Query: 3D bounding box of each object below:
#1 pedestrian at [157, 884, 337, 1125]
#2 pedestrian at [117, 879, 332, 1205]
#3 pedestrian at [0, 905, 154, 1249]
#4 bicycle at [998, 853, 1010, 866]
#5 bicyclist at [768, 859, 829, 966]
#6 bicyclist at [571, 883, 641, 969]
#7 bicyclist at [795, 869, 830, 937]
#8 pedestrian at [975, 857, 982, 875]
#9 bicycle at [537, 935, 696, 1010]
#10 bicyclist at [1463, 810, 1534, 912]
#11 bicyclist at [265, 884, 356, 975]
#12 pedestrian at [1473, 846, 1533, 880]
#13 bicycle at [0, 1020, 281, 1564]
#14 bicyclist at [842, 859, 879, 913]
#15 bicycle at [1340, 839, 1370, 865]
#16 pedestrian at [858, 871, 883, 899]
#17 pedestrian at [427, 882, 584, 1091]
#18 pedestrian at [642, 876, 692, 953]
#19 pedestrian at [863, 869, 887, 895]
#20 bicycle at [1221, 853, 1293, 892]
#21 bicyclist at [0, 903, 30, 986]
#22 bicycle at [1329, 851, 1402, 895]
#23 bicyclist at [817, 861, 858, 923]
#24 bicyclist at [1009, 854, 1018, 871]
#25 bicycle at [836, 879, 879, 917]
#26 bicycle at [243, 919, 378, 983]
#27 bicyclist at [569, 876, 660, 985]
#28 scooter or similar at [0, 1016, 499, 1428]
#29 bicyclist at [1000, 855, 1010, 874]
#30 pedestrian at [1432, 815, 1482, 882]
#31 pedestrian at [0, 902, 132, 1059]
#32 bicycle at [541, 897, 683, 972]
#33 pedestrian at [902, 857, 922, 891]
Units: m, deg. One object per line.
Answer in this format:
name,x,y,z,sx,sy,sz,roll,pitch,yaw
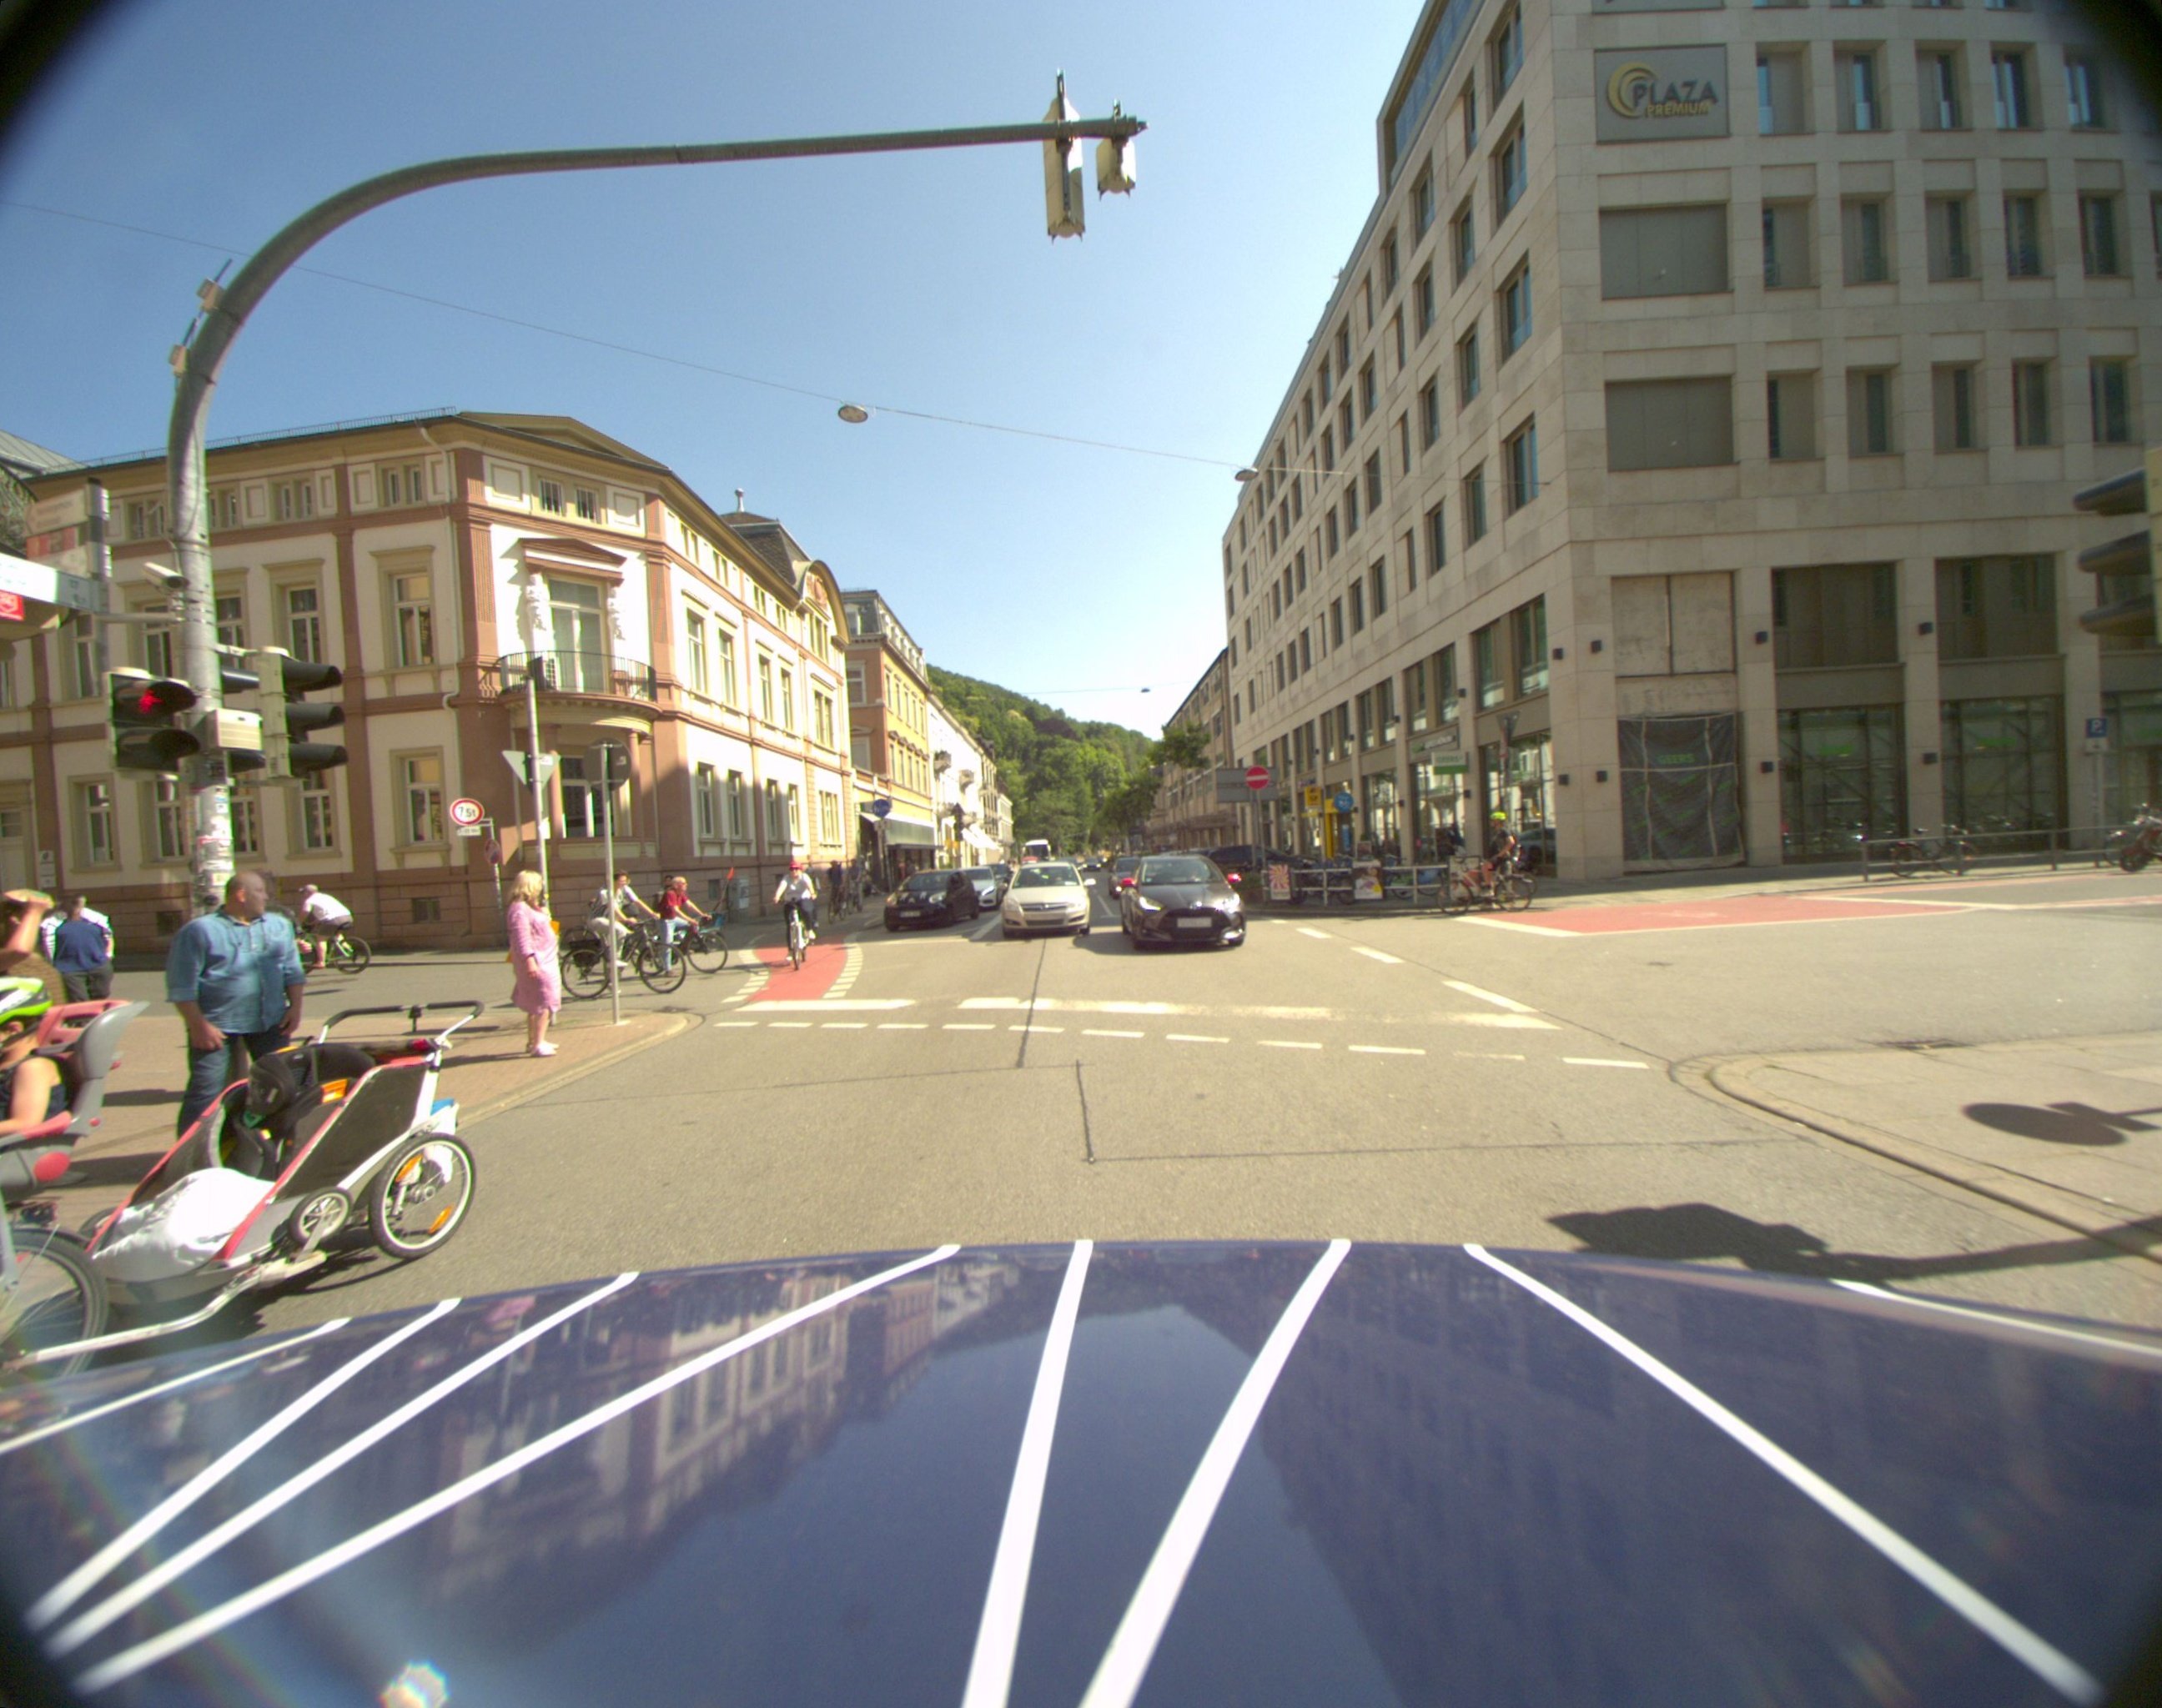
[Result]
pedestrian,-6.827,1.206,6.248,0.640,1.832,0.615,-5,2,11
pedestrian,-5.102,1.064,4.565,0.453,1.784,0.608,-4,1,-2
pedestrian,-5.845,1.160,4.093,0.789,1.680,0.641,-3,0,-2
bicycle,-6.898,0.459,68.086,0.743,1.120,2.573,-1,1,1
bicyclist,-4.752,0.961,12.828,0.685,1.707,0.844,-3,1,-7
bicyclist,-9.236,1.378,14.794,0.747,1.564,0.844,-2,1,0
bicyclist,-6.750,1.223,19.124,0.516,1.627,0.844,-2,1,0
pedestrian,-9.715,1.114,71.770,0.482,1.659,0.868,-3,1,-1
bicycle,-6.372,1.619,10.464,1.826,0.839,0.501,-4,1,1
bicyclist,8.387,0.124,15.309,0.843,1.948,1.017,-3,1,6
bicyclist,-14.580,1.419,14.384,1.157,1.652,0.573,-1,0,4
pedestrian,12.320,0.262,22.220,1.253,0.920,0.841,-3,1,-2
bicycle,-3.224,1.220,1.466,0.733,1.261,2.283,-4,0,5
bicyclist,-7.290,1.047,25.195,0.910,1.707,0.844,-2,1,0
bicycle,12.512,-0.108,34.804,0.497,1.101,2.161,-5,0,0
pedestrian,-10.498,1.545,37.963,1.032,1.308,0.625,-3,1,-1
pedestrian,-5.208,1.160,6.933,0.641,1.700,0.789,-5,3,-2
pedestrian,-9.445,1.349,17.345,0.904,1.603,0.974,-3,4,-29
pedestrian,-10.491,1.441,38.703,1.088,1.308,0.625,0,1,-1
bicycle,5.731,0.601,24.804,2.146,1.120,0.485,-5,0,1
bicyclist,-19.499,1.614,13.286,1.258,1.422,0.773,-3,0,8
bicycle,8.226,0.565,21.969,1.863,1.120,0.485,-5,0,24
bicyclist,-6.991,1.087,21.837,0.840,1.707,0.844,-2,1,0
bicyclist,-6.609,0.825,74.452,0.747,1.564,0.844,-2,1,0
bicycle,-7.388,1.433,25.224,0.748,1.111,1.918,-3,0,1
bicycle,-14.571,1.835,14.383,2.075,1.120,0.573,-1,0,4
bicyclist,-6.340,1.025,10.355,0.861,1.403,0.501,-2,1,1
scooter or similar,-3.214,1.332,3.064,0.785,1.054,1.125,-5,1,-1
bicyclist,-6.882,0.934,68.497,0.747,1.693,1.036,-2,1,0
pedestrian,11.057,-0.168,22.374,0.840,1.868,0.844,-7,1,0
pedestrian,-11.557,1.398,8.602,0.640,1.648,0.791,-3,-2,11
bicycle,-9.240,1.526,15.209,0.750,1.120,3.240,-1,0,1
pedestrian,-9.337,1.103,41.981,0.840,1.781,0.767,-2,1,0
